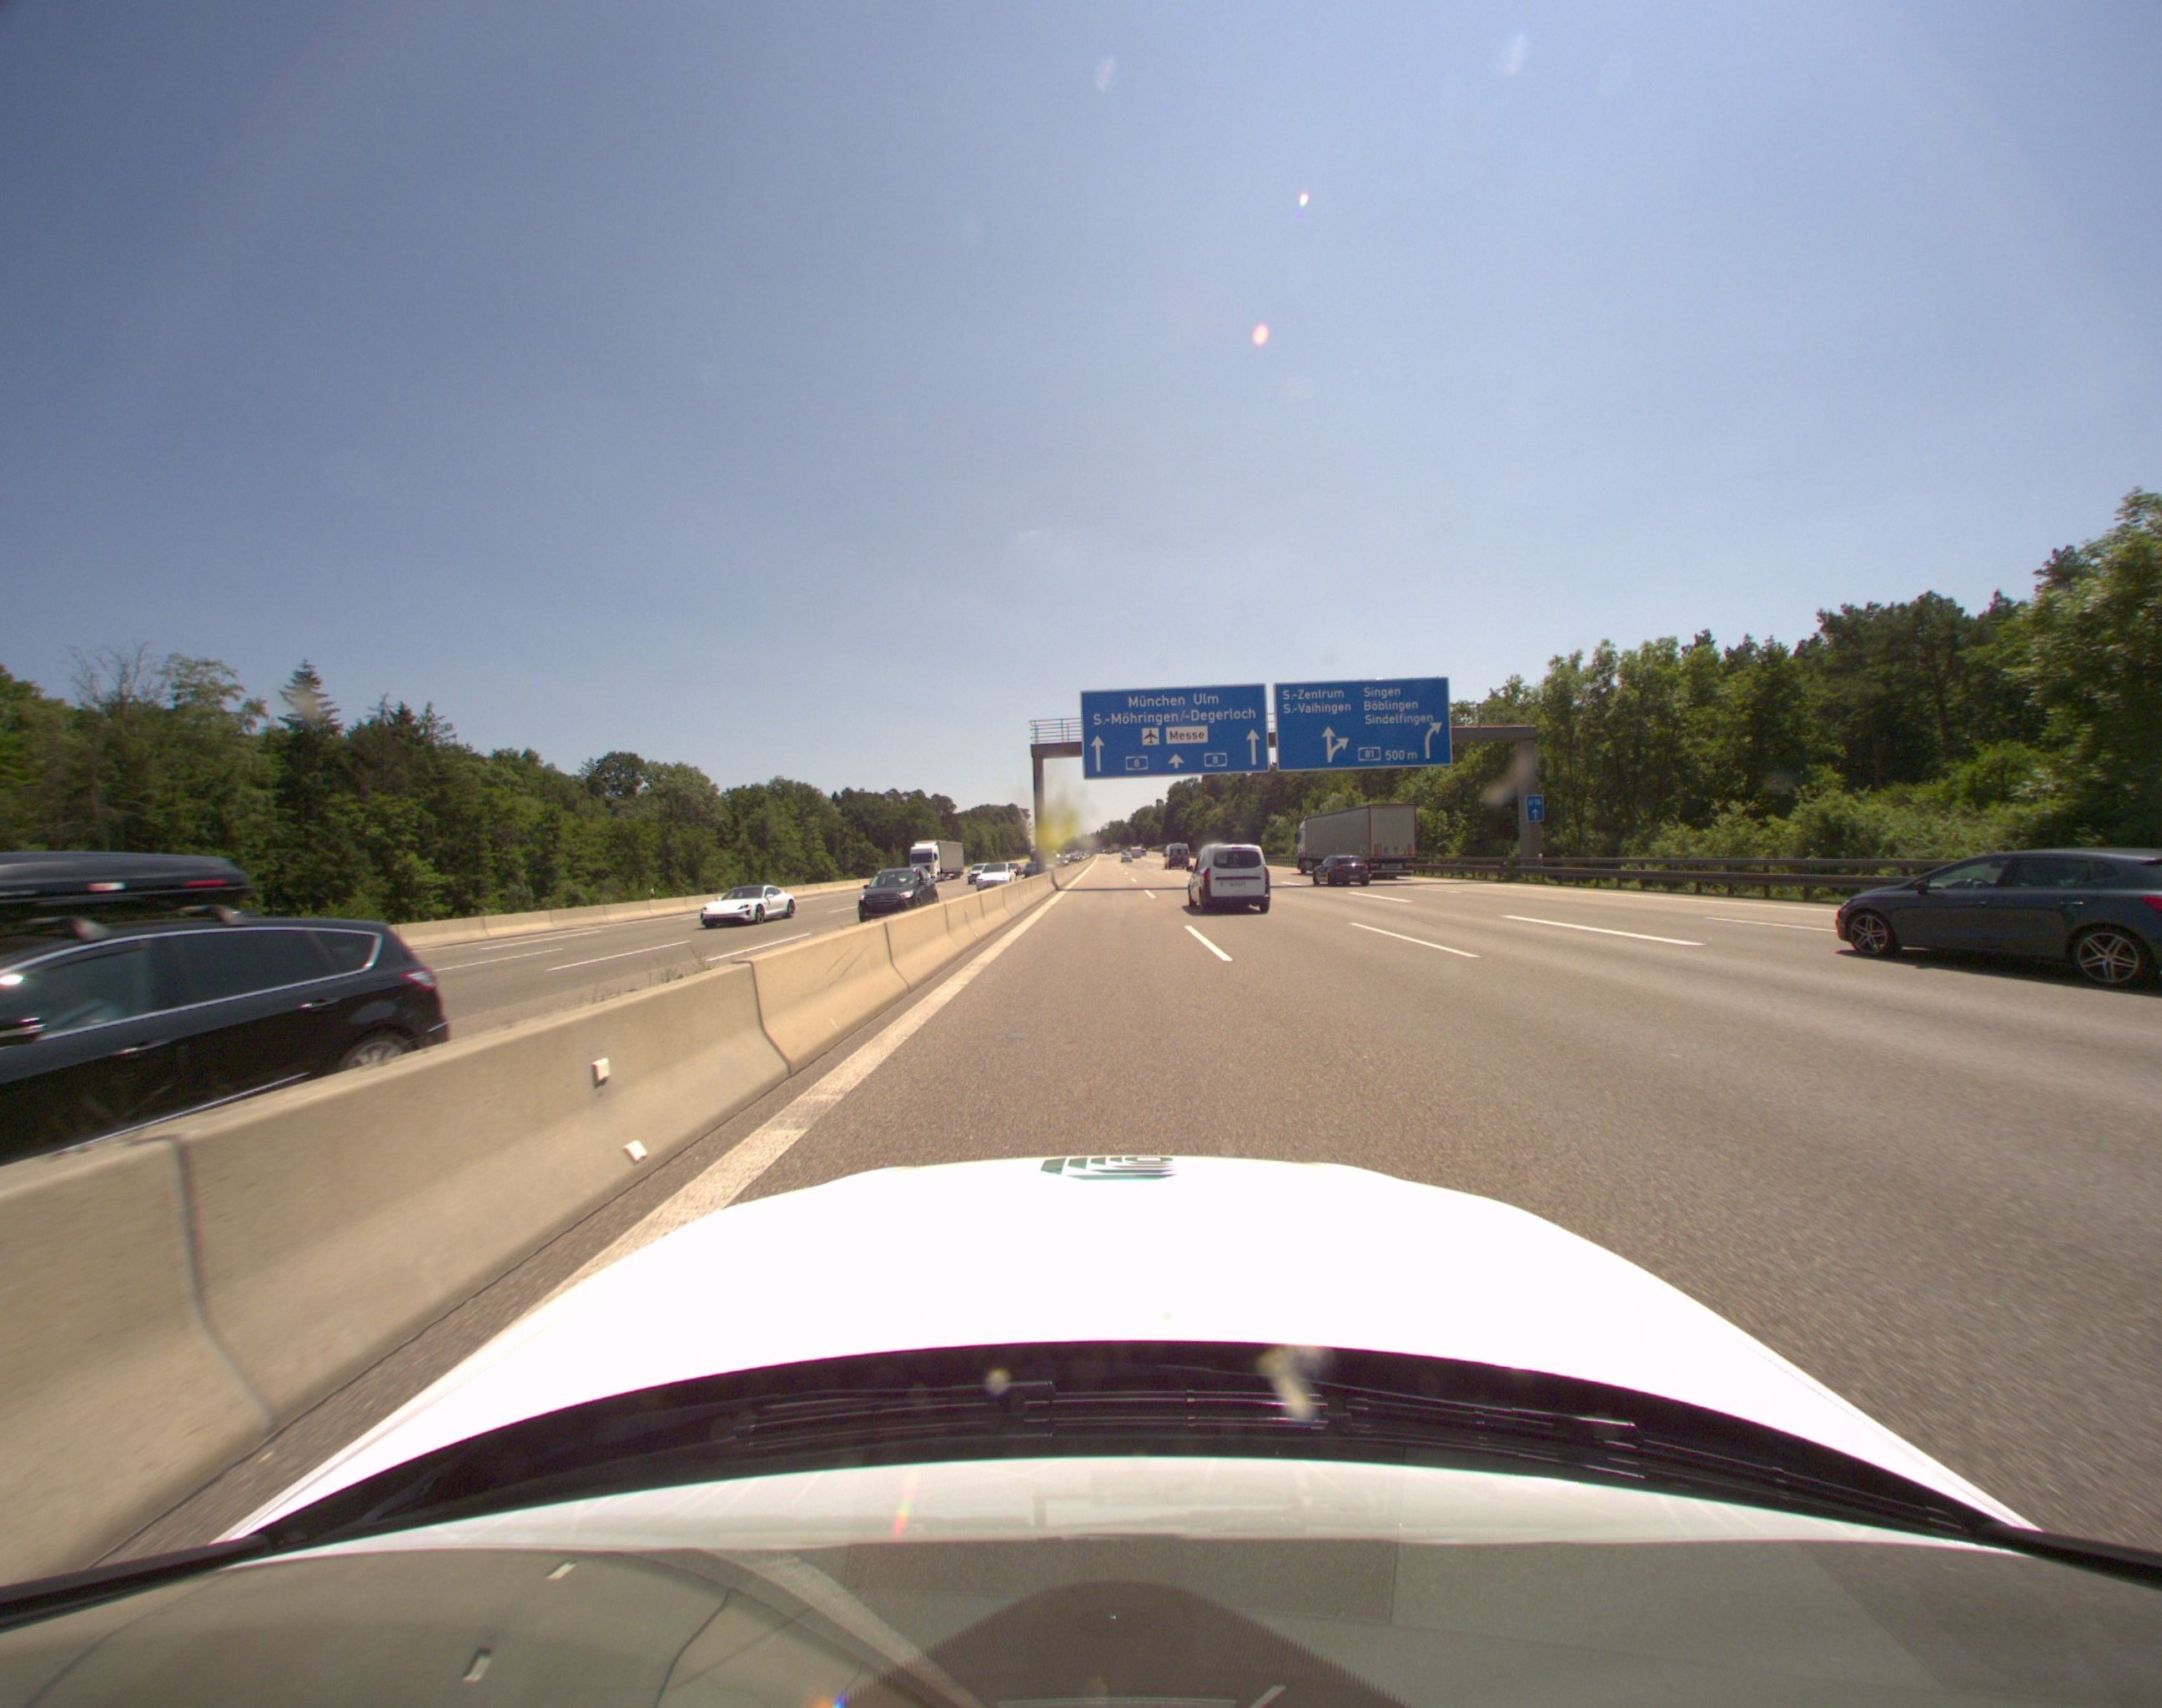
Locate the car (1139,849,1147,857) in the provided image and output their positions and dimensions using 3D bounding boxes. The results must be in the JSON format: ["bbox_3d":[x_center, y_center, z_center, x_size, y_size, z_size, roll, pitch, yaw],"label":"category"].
[{"bbox_3d":[16.522,-0.280,217.425,1.814,1.860,4.001,-2,0,2],"label":"car"}]

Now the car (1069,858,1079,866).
[{"bbox_3d":[-1.581,1.661,176.057,1.986,1.618,4.001,-3,0,2],"label":"car"}]

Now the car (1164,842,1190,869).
[{"bbox_3d":[9.640,0.141,82.284,2.135,2.652,5.712,-2,0,2],"label":"car"}]

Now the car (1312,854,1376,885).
[{"bbox_3d":[12.017,0.742,37.521,1.664,1.274,4.291,-1,-3,2],"label":"car"}]

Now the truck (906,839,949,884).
[{"bbox_3d":[-15.398,0.768,81.958,2.750,4.220,6.380,-3,-1,2],"label":"truck"}]

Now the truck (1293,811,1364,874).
[{"bbox_3d":[17.092,-0.756,56.645,3.242,4.106,5.990,-1,0,1],"label":"truck"}]

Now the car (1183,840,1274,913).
[{"bbox_3d":[4.031,0.605,22.963,1.853,1.826,4.614,-1,-1,2],"label":"car"}]

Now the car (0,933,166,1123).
[{"bbox_3d":[-9.725,1.543,5.964,1.543,1.455,3.841,-4,0,2],"label":"car"}]

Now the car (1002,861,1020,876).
[{"bbox_3d":[-7.710,1.588,90.048,1.543,1.442,4.725,-2,0,1],"label":"car"}]

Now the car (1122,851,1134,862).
[{"bbox_3d":[7.820,0.410,136.608,1.836,1.629,4.554,-3,-1,1],"label":"car"}]

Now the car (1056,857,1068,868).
[{"bbox_3d":[-2.947,1.337,127.628,1.718,1.537,5.053,-3,0,-1],"label":"car"}]

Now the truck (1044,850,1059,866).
[{"bbox_3d":[-5.314,0.759,149.524,2.130,2.838,7.673,-3,0,2],"label":"truck"}]

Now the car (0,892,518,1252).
[{"bbox_3d":[-6.223,1.203,4.861,1.863,1.606,5.230,-3,0,2],"label":"car"}]

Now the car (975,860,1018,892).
[{"bbox_3d":[-4.843,1.251,47.461,1.806,1.673,4.477,-3,0,2],"label":"car"}]

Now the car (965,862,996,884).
[{"bbox_3d":[-8.199,1.520,66.989,1.811,1.589,4.883,-2,0,1],"label":"car"}]

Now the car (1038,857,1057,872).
[{"bbox_3d":[-3.851,1.203,94.639,1.840,1.550,5.215,-5,0,1],"label":"car"}]

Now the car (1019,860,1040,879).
[{"bbox_3d":[-4.411,1.306,70.497,1.532,1.550,4.068,-3,0,-1],"label":"car"}]

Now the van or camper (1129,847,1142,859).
[{"bbox_3d":[12.464,-0.178,187.813,2.635,2.539,6.504,-3,-1,2],"label":"van or camper"}]

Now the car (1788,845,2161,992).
[{"bbox_3d":[11.408,0.622,9.932,1.637,1.438,4.636,-1,0,1],"label":"car"}]

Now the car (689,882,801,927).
[{"bbox_3d":[-12.348,1.828,30.344,1.985,1.306,4.847,-3,0,2],"label":"car"}]

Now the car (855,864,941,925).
[{"bbox_3d":[-5.841,1.243,26.512,1.748,1.673,4.203,-3,0,0],"label":"car"}]

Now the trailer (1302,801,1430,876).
[{"bbox_3d":[16.936,-0.811,50.008,3.276,3.930,13.893,-1,0,1],"label":"trailer"}]

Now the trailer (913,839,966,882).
[{"bbox_3d":[-15.210,0.768,88.750,2.744,4.246,13.723,-3,-1,2],"label":"trailer"}]
